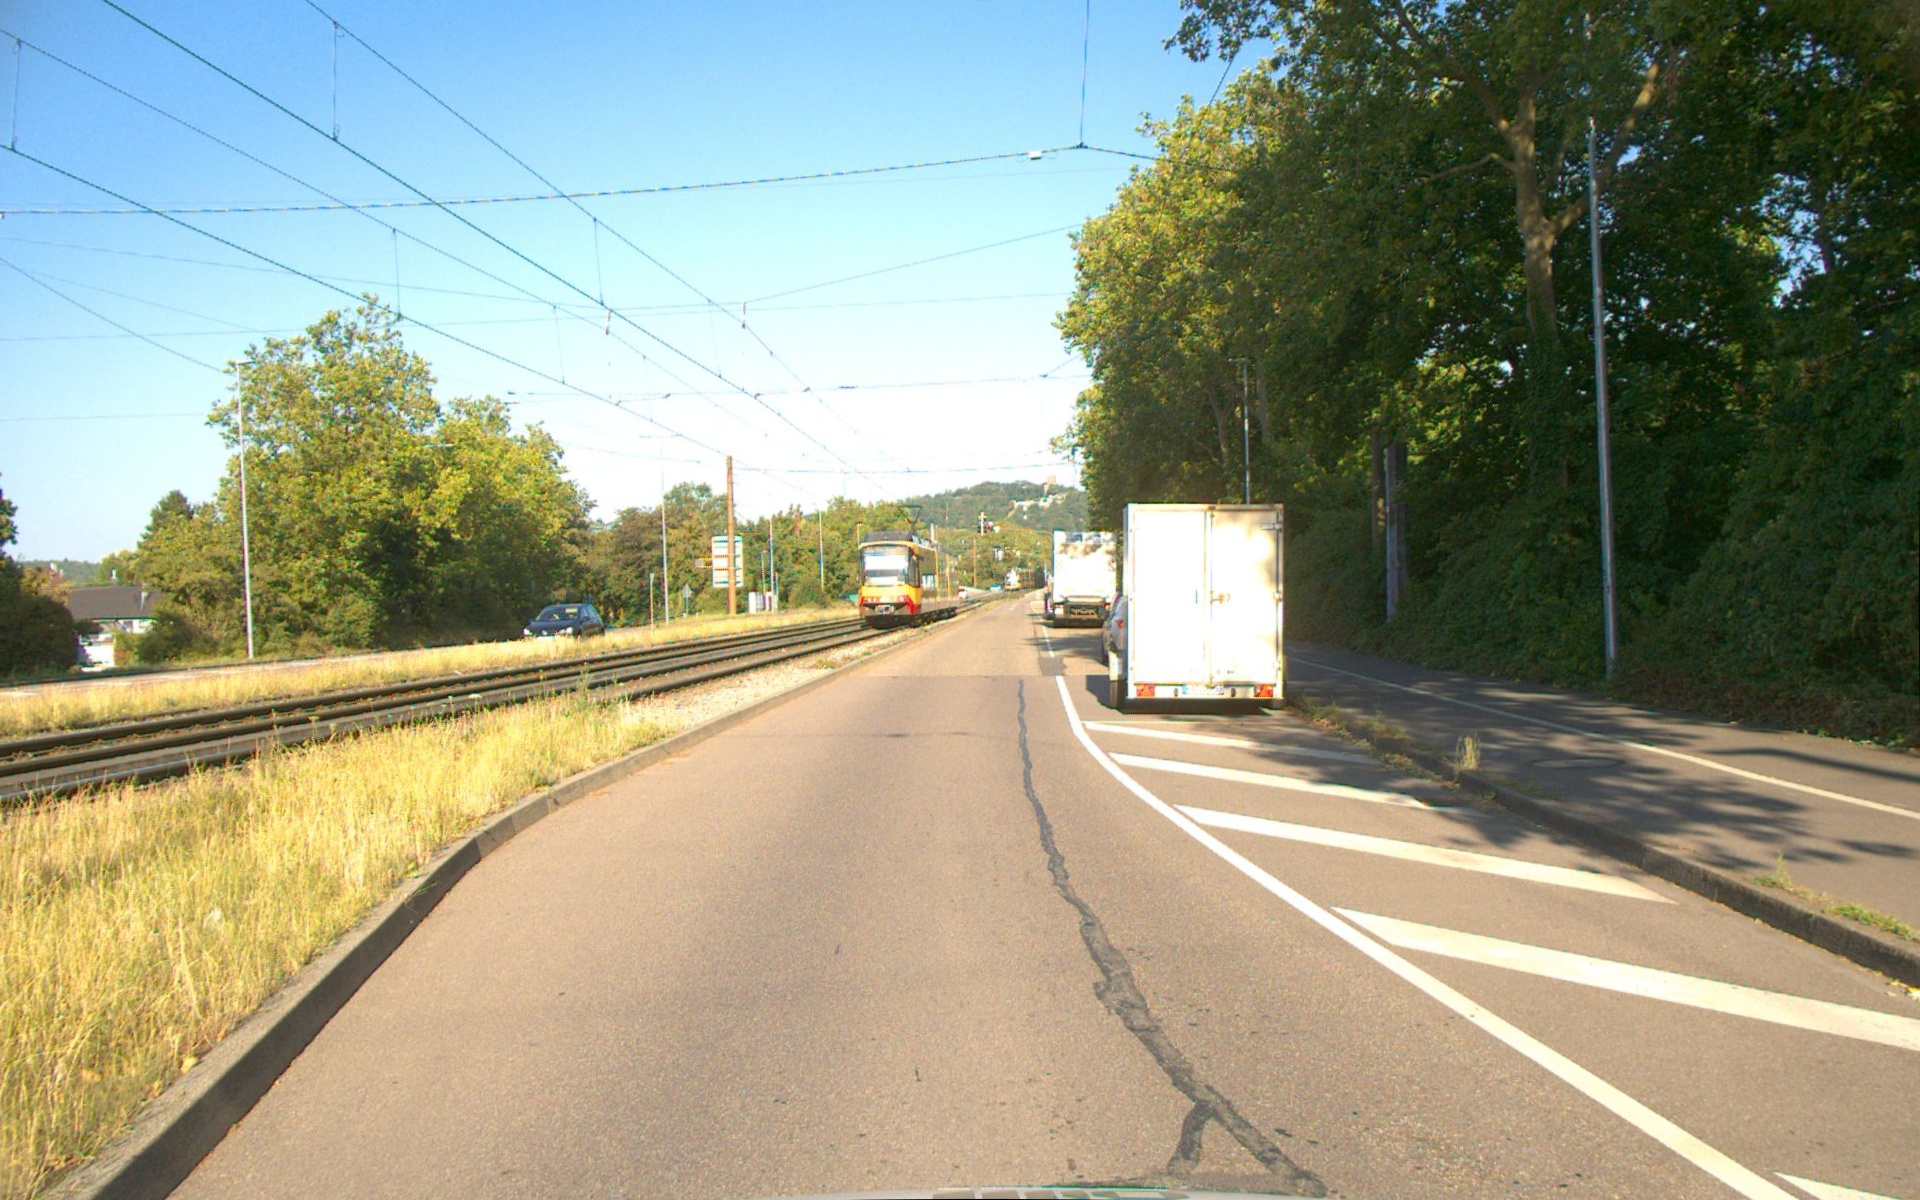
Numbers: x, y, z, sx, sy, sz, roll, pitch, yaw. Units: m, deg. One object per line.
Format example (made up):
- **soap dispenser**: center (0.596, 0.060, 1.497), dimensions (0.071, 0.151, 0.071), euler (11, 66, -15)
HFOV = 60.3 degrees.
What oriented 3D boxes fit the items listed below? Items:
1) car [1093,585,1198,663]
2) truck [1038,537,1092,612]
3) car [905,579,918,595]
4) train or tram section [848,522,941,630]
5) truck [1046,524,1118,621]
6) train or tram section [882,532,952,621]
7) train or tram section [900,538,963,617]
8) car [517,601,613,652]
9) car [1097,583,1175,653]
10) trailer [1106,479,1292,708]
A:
- **car**: center (3.732, 0.440, 33.826), dimensions (1.771, 1.482, 4.166), euler (0, 0, 1)
- **truck**: center (5.625, -1.353, 89.961), dimensions (2.660, 3.849, 9.764), euler (0, 0, 2)
- **car**: center (-6.479, -1.725, 219.828), dimensions (1.689, 2.049, 3.999), euler (0, 0, -1)
- **train or tram section**: center (-2.664, -0.997, 72.027), dimensions (2.665, 4.162, 13.621), euler (-2, 0, 3)
- **truck**: center (5.124, -1.137, 70.841), dimensions (2.685, 3.849, 10.092), euler (0, 0, 2)
- **train or tram section**: center (-2.082, -1.152, 83.742), dimensions (2.638, 4.160, 9.914), euler (-2, 0, 3)
- **train or tram section**: center (-1.509, -1.253, 95.111), dimensions (2.663, 4.160, 12.818), euler (-2, 0, 3)
- **car**: center (-12.566, 0.806, 52.878), dimensions (1.736, 1.450, 4.491), euler (-2, 0, 3)
- **car**: center (4.160, 0.388, 39.564), dimensions (1.606, 1.563, 3.642), euler (1, 0, 3)
- **trailer**: center (3.170, -0.096, 22.959), dimensions (2.203, 2.742, 5.951), euler (-1, 0, 5)
